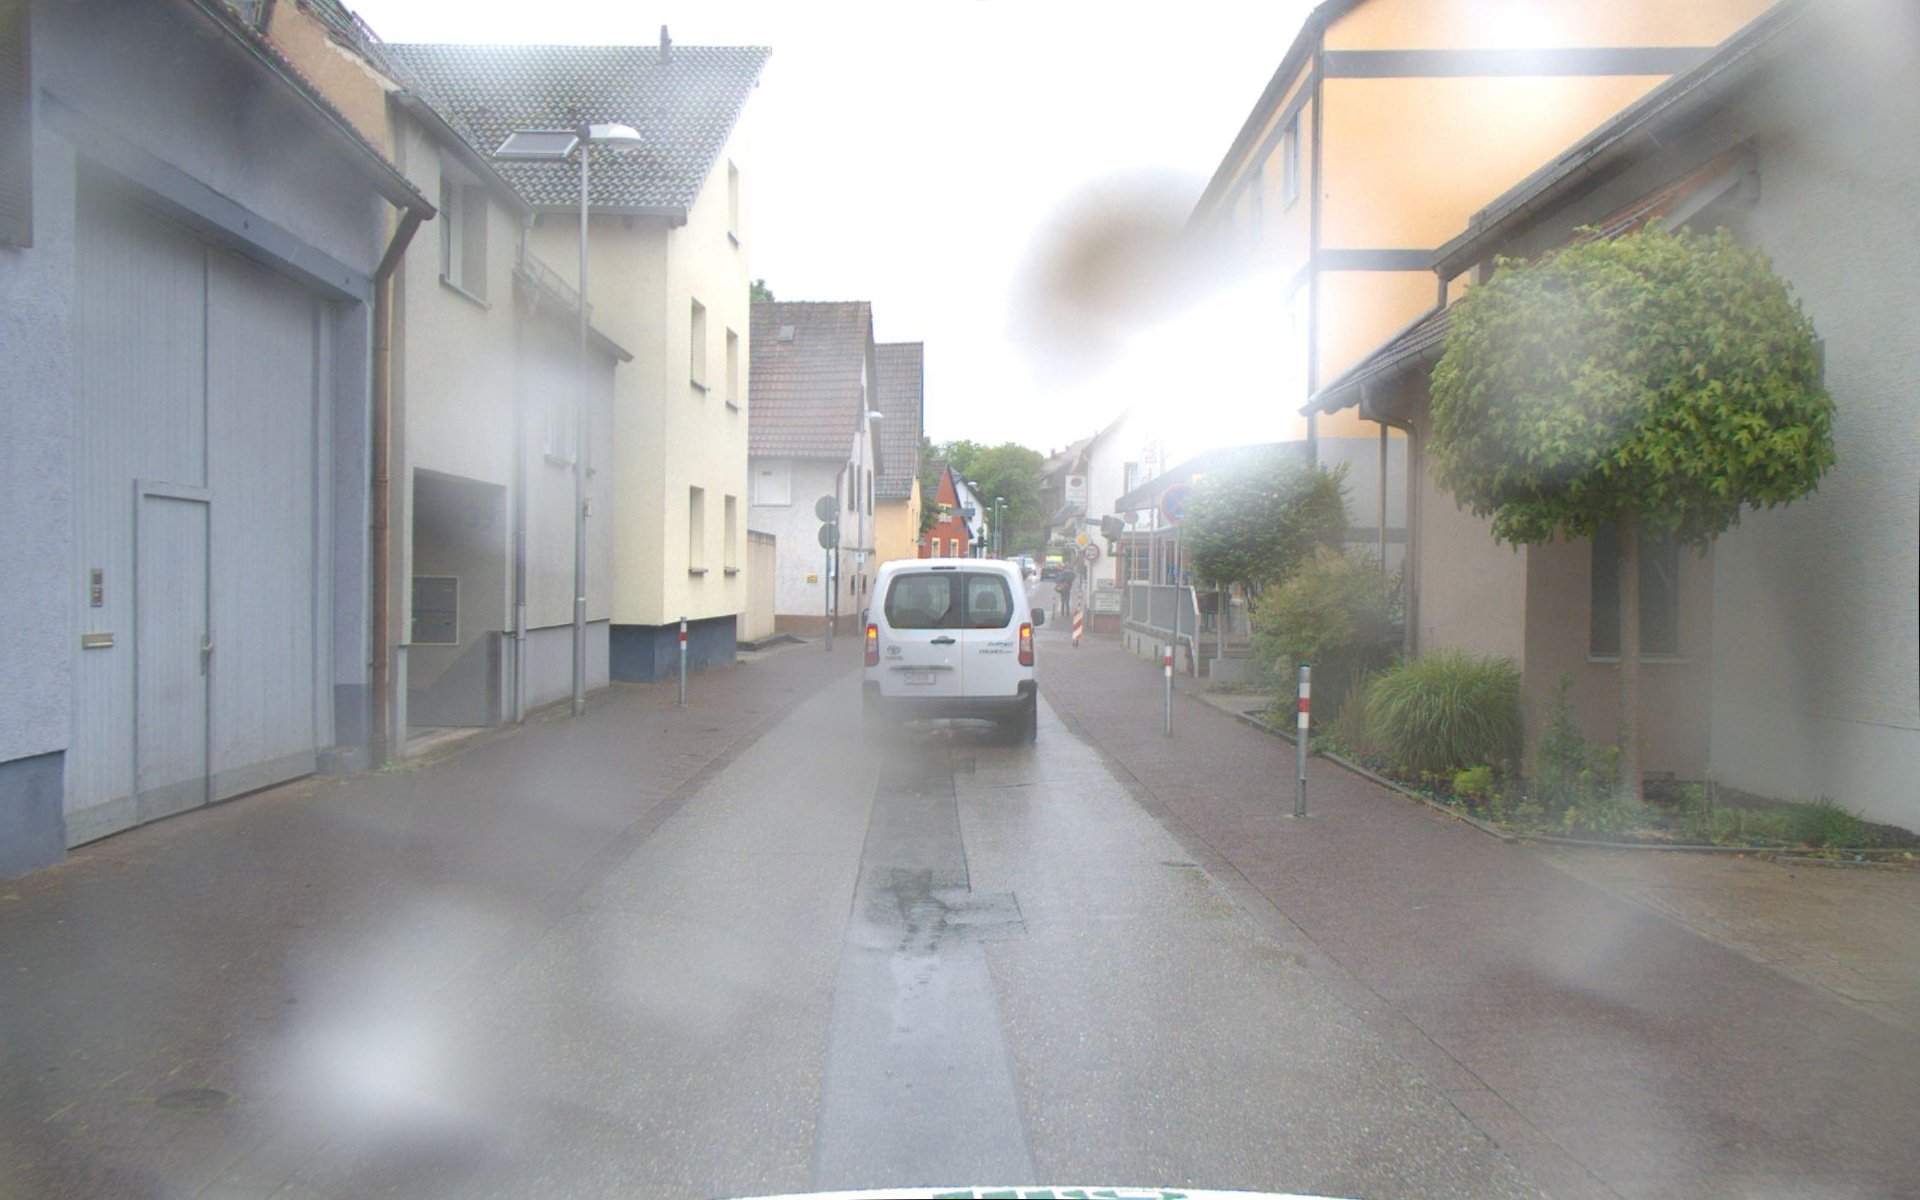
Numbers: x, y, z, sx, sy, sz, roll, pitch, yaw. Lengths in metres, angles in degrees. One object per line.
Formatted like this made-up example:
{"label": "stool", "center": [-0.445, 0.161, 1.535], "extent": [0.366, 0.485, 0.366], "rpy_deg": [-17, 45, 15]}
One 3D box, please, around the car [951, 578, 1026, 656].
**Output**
{"label": "car", "center": [0.836, 0.444, 45.586], "extent": [1.952, 2.049, 4.001], "rpy_deg": [-1, 0, 2]}

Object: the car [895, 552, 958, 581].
{"label": "car", "center": [-2.054, -2.079, 102.009], "extent": [3.376, 1.586, 1.985], "rpy_deg": [-4, 2, -24]}

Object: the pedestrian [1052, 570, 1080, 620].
{"label": "pedestrian", "center": [4.095, -0.191, 63.942], "extent": [1.029, 1.926, 0.877], "rpy_deg": [-1, 0, -1]}

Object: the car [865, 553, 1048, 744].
{"label": "car", "center": [0.008, 0.457, 17.807], "extent": [1.738, 1.811, 4.001], "rpy_deg": [-1, 0, 1]}

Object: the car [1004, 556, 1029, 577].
{"label": "car", "center": [4.324, -2.547, 126.379], "extent": [1.555, 1.466, 3.769], "rpy_deg": [2, 0, 6]}
